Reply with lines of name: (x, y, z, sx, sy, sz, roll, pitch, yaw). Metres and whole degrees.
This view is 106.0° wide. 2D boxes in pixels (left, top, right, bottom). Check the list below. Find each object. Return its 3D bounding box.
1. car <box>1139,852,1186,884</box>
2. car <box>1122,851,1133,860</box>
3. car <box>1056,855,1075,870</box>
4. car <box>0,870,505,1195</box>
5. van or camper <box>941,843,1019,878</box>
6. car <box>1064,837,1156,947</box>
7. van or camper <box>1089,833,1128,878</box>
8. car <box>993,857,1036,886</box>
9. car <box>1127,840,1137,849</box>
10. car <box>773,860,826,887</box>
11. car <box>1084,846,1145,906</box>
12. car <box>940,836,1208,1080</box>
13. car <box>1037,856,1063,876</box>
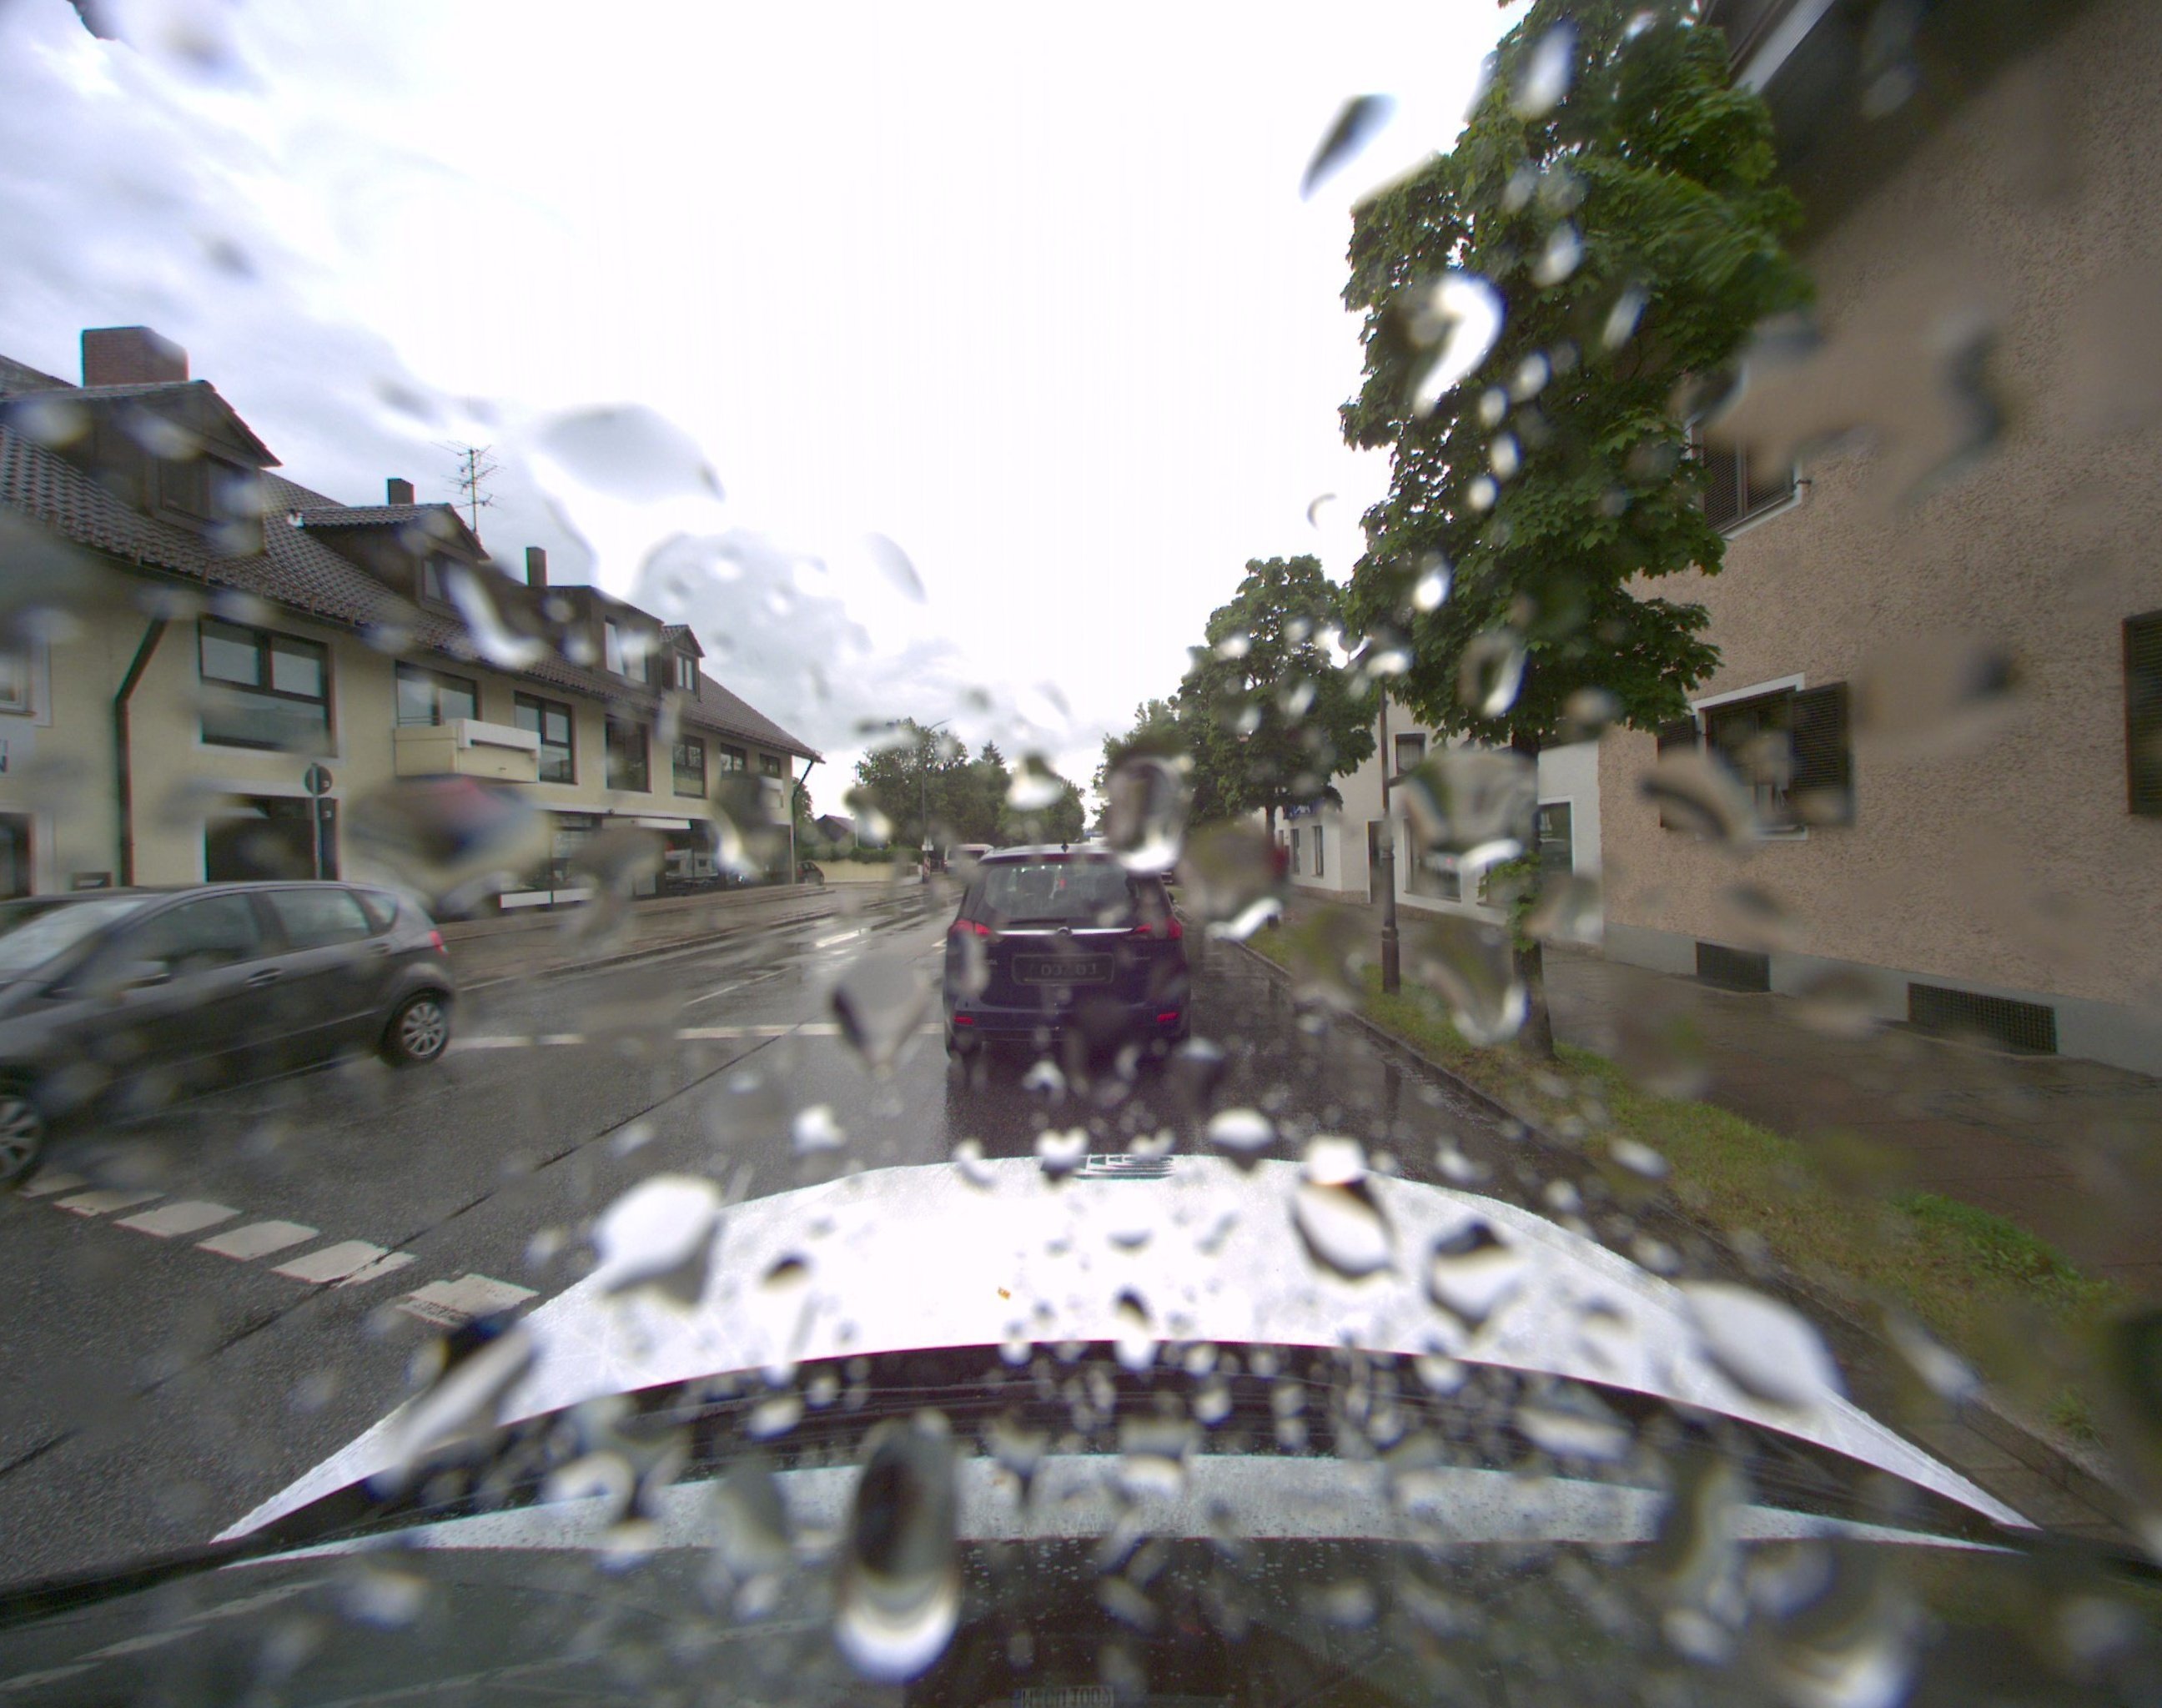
car: (4.131, 0.693, 42.009, 2.110, 1.581, 3.936, 0, 0, 1)
car: (7.460, 0.268, 130.801, 1.624, 1.378, 3.624, 0, -1, 2)
car: (-1.713, 0.962, 91.076, 1.745, 1.511, 4.233, -3, 0, 3)
car: (-6.270, 0.958, 5.456, 1.909, 1.533, 3.900, -2, 0, 2)
van or camper: (-8.317, 0.515, 67.633, 6.235, 2.707, 2.098, -2, 0, -4)
car: (0.527, 0.615, 14.775, 1.494, 1.776, 3.113, 0, 0, 2)
van or camper: (1.773, 0.085, 52.747, 2.351, 2.665, 5.374, -2, 0, 2)
car: (-3.836, 1.001, 47.659, 1.960, 1.563, 4.153, -3, 0, 2)
car: (8.734, -1.590, 140.067, 1.624, 1.378, 3.624, -3, 0, 2)
car: (-15.873, 1.092, 46.069, 1.601, 1.380, 3.510, -3, 0, 2)
car: (1.063, 0.654, 26.023, 1.749, 1.706, 3.620, -2, 0, 2)
car: (0.013, 0.686, 7.196, 1.762, 1.604, 3.665, 0, 0, 2)
car: (-2.631, 0.984, 70.086, 1.920, 1.566, 4.127, -2, 0, 1)
